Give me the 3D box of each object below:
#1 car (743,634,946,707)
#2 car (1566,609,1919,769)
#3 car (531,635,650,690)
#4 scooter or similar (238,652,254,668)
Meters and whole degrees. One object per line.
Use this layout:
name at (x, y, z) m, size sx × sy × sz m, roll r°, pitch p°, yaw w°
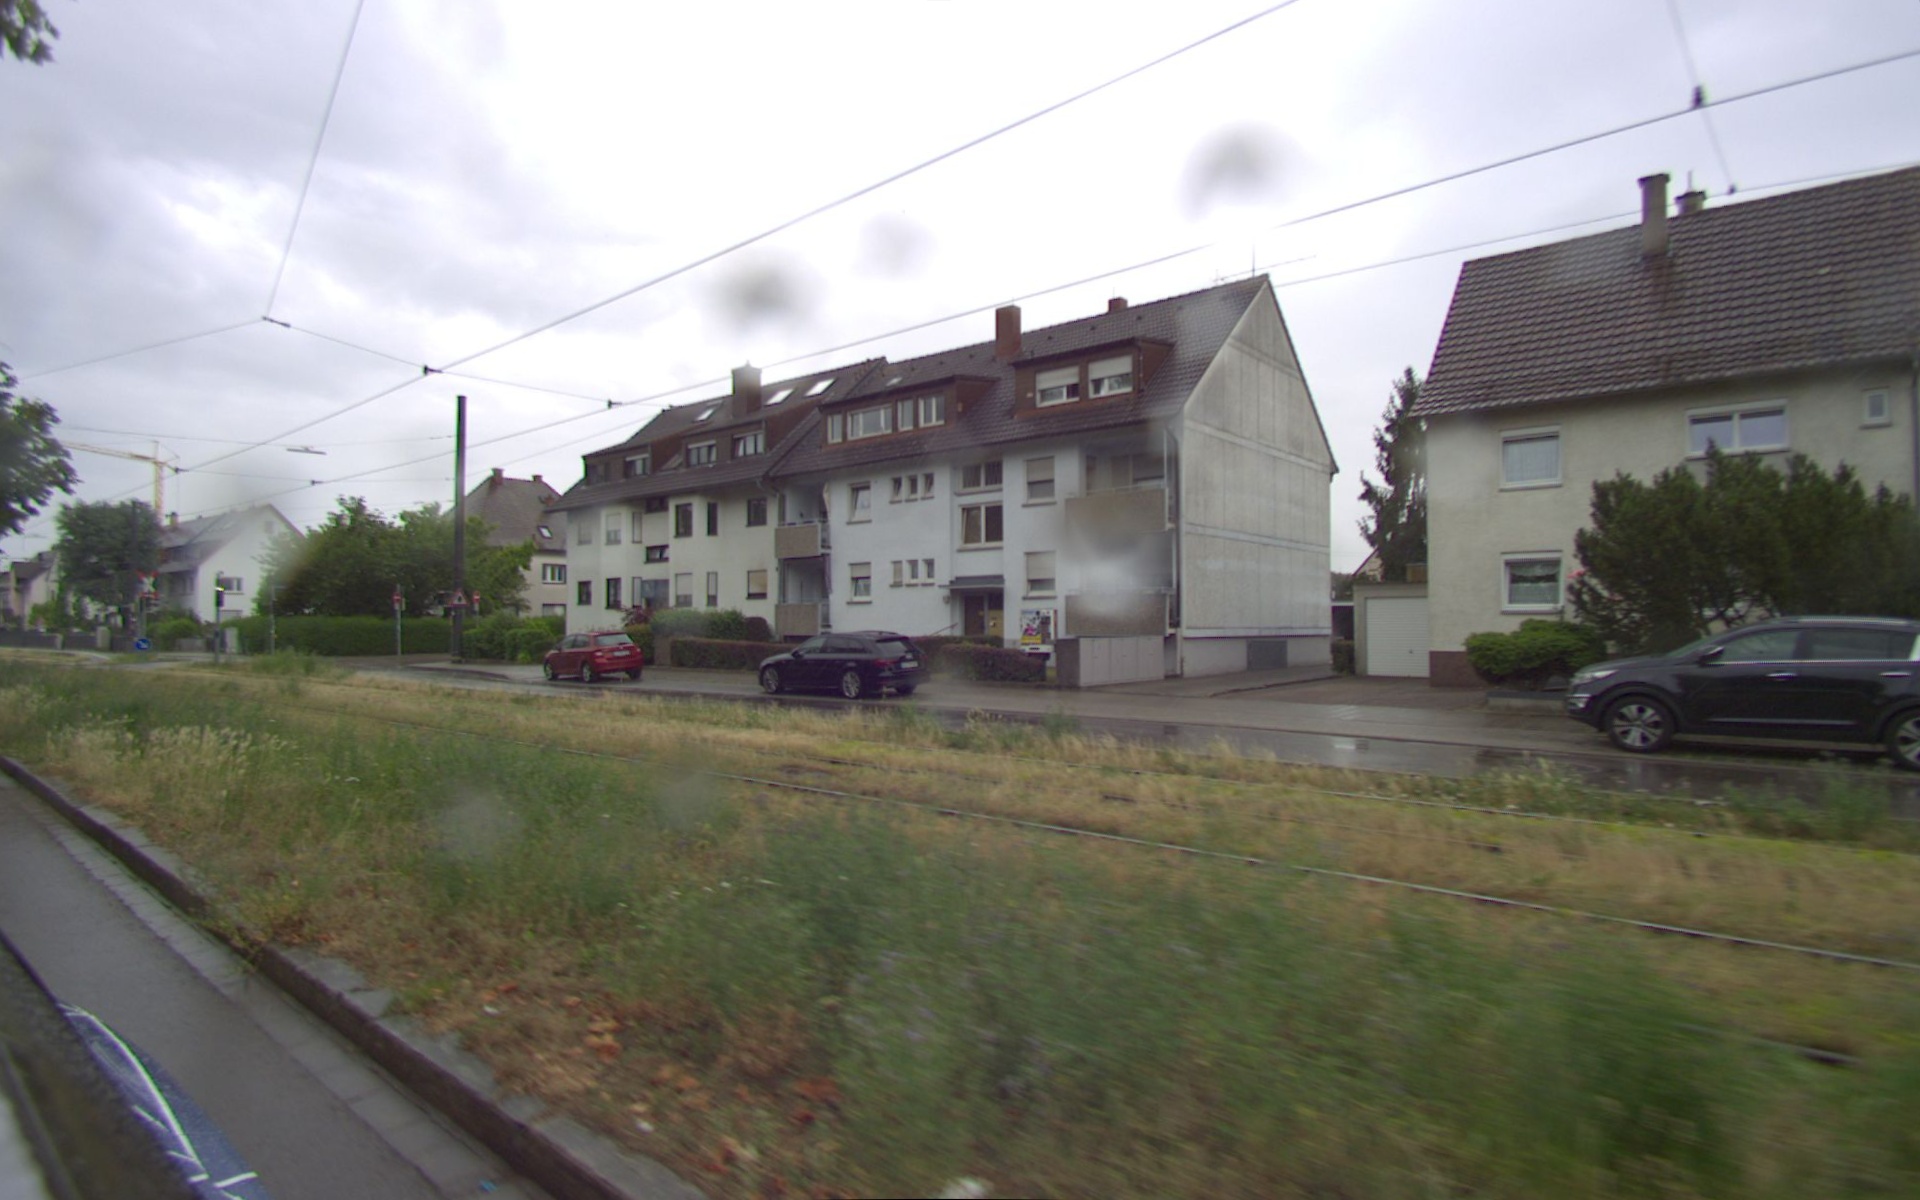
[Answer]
car at (-2.730, 1.552, 23.133) m, size 4.762 × 1.421 × 1.972 m, roll -3°, pitch -1°, yaw 43°
car at (9.970, 0.971, 12.137) m, size 4.383 × 1.687 × 1.973 m, roll -2°, pitch -2°, yaw 40°
car at (-11.214, 1.859, 30.593) m, size 4.000 × 1.468 × 1.778 m, roll -3°, pitch -1°, yaw 43°
scooter or similar at (-40.784, 3.438, 57.809) m, size 1.256 × 0.917 × 0.343 m, roll -2°, pitch -3°, yaw 36°
